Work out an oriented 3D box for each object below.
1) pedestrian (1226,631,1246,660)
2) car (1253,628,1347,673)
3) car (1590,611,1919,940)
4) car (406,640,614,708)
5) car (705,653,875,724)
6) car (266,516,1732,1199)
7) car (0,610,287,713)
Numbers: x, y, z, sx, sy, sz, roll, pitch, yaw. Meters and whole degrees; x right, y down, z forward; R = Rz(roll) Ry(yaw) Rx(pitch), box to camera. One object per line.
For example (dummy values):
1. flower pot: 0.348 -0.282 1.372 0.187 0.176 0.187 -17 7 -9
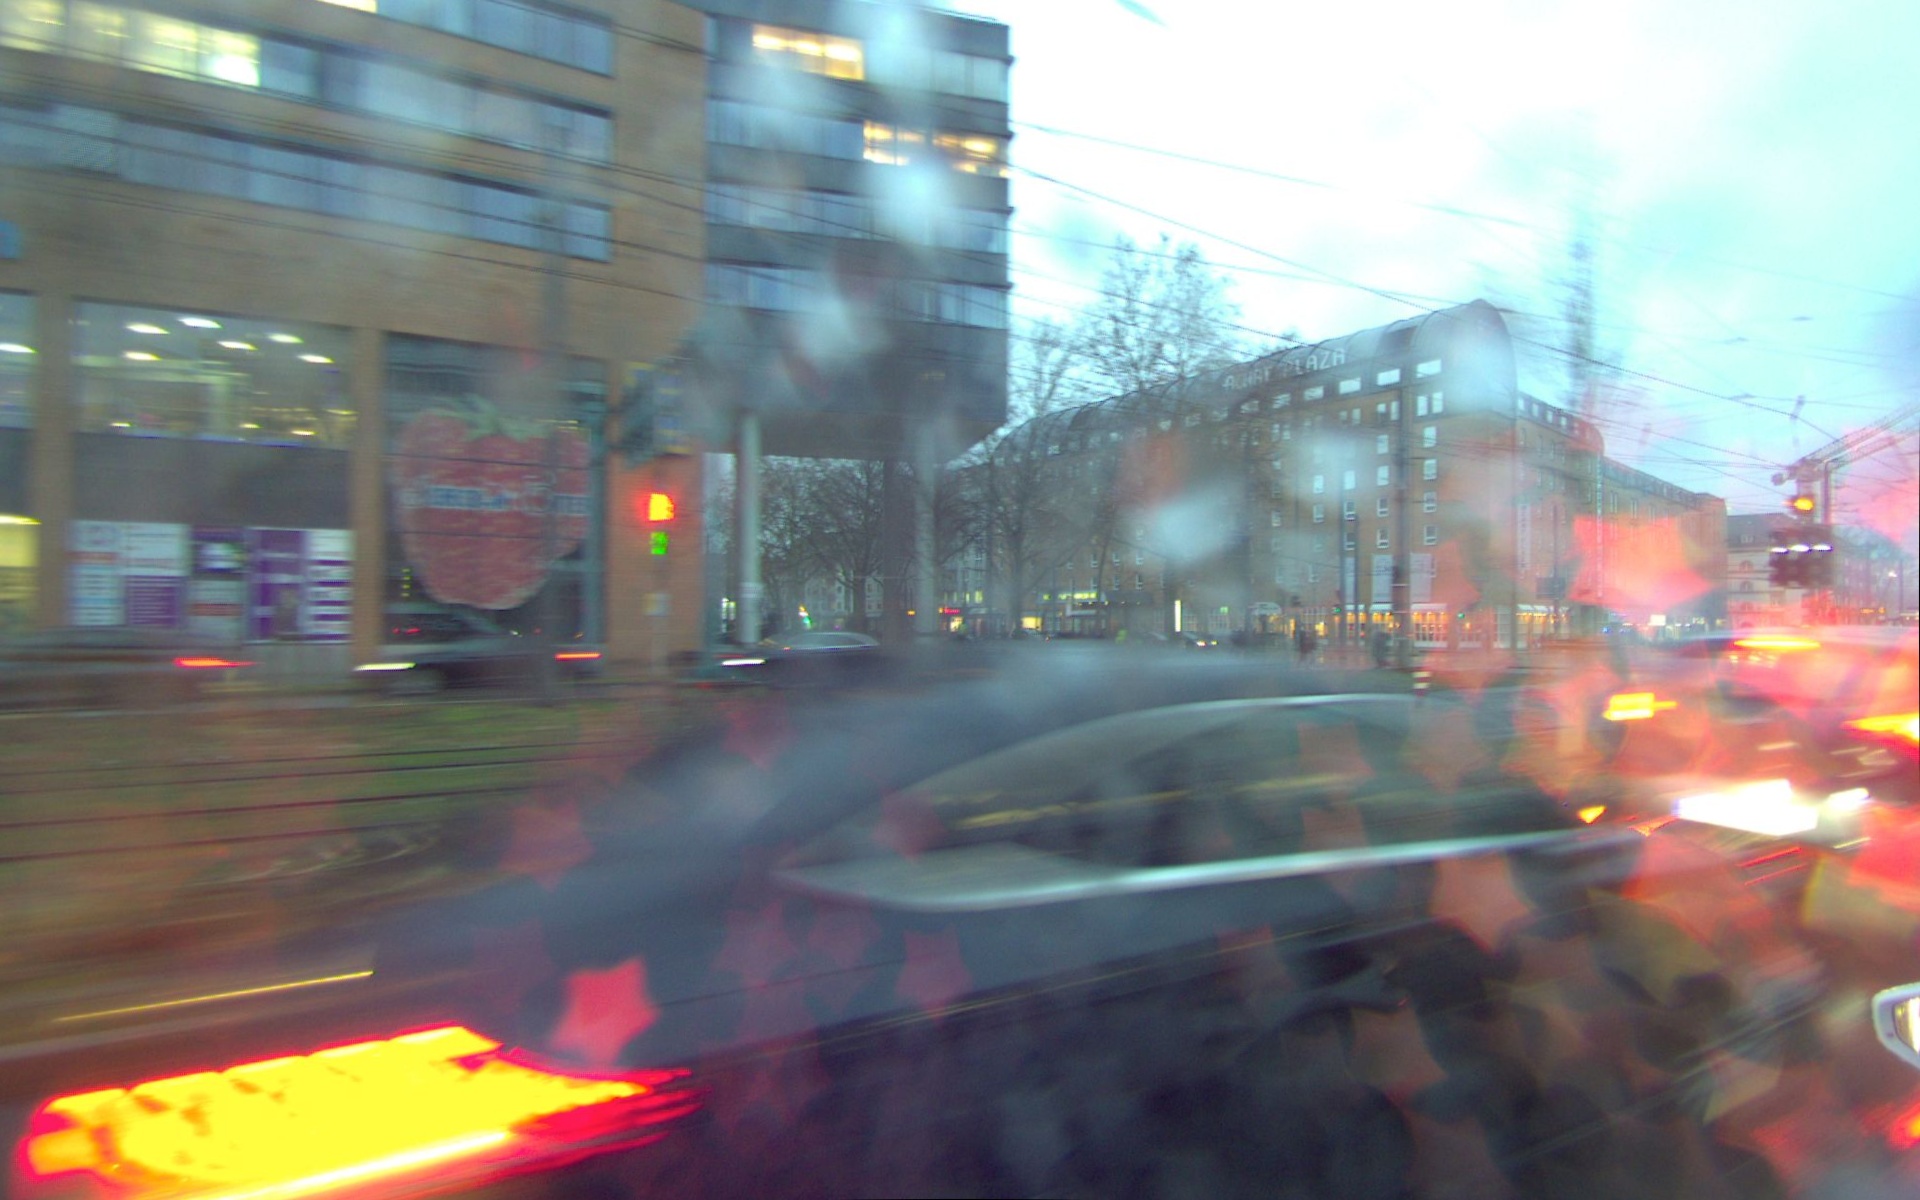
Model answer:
1. pedestrian: 16.398 2.694 59.615 0.892 1.646 0.722 1 -1 -30
2. car: 13.579 1.976 40.075 3.579 1.714 1.624 1 -1 -30
3. car: 5.813 0.870 6.293 3.958 1.528 1.695 2 -1 -34
4. car: -10.690 1.708 23.972 4.369 1.469 1.624 1 -1 -31
5. car: -3.947 2.000 23.419 3.580 1.469 1.624 1 -1 -31
6. car: 0.362 0.761 2.531 3.434 1.540 1.509 2 -2 -34
7. car: -13.264 0.925 15.870 4.267 1.469 1.983 2 -2 -32
